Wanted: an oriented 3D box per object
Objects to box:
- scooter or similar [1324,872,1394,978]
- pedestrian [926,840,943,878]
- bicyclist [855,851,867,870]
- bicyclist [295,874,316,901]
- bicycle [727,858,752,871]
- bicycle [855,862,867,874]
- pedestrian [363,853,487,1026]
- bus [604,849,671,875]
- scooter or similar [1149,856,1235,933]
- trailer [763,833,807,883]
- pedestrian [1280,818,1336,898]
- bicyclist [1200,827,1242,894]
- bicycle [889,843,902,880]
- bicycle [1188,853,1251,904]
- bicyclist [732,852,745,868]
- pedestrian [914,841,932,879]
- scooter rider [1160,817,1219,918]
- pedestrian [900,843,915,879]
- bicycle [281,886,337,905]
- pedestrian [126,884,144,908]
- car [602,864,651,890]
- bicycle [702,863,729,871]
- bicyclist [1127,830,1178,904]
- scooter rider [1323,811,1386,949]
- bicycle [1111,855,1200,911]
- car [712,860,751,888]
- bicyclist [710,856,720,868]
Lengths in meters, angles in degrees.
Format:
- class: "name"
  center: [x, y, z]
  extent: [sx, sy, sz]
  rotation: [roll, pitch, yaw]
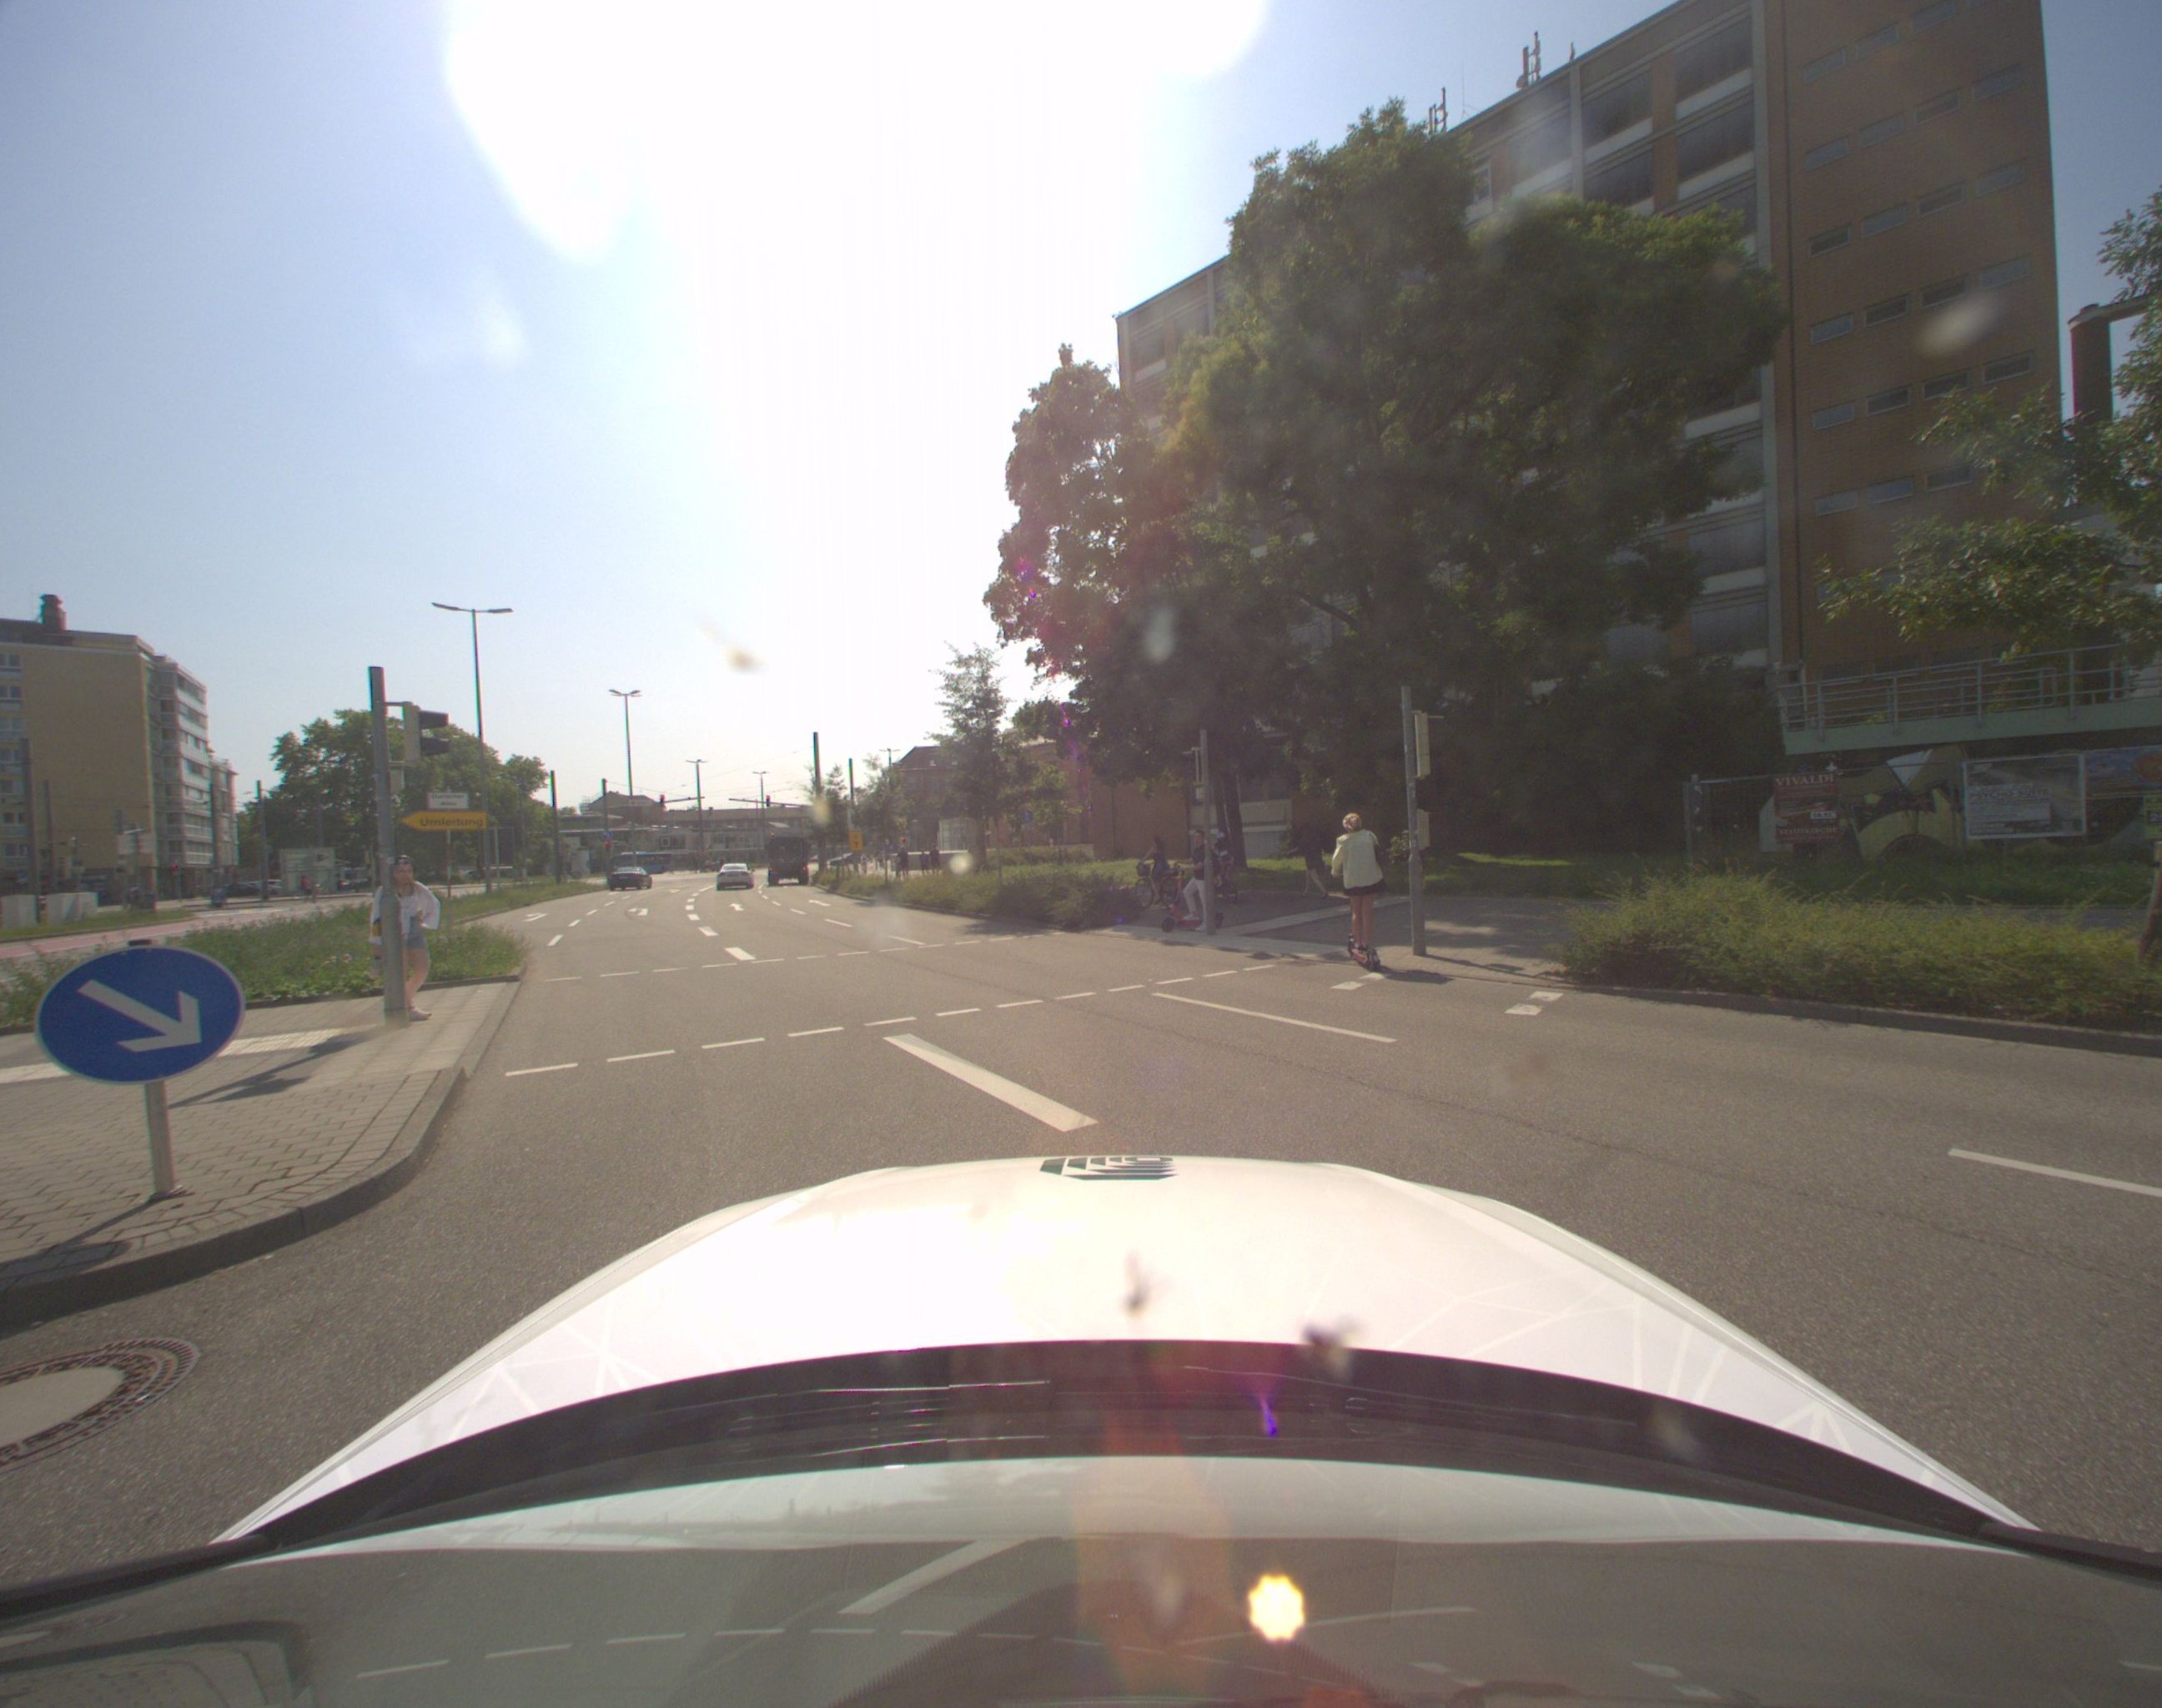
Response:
- class: "scooter or similar"
  center: [3.445, 0.830, 10.217]
  extent: [0.552, 1.060, 2.011]
  rotation: [-2, 2, 12]
- class: "pedestrian"
  center: [-7.930, 0.265, 44.038]
  extent: [0.777, 1.973, 0.752]
  rotation: [-3, 1, -7]
- class: "bicyclist"
  center: [-16.324, 0.481, 60.408]
  extent: [0.677, 1.320, 0.679]
  rotation: [-3, 1, -20]
- class: "bicyclist"
  center: [-48.183, 2.060, 50.585]
  extent: [0.846, 1.642, 0.600]
  rotation: [-3, 1, -39]
- class: "bicycle"
  center: [-35.553, 1.088, 84.745]
  extent: [2.795, 1.178, 0.981]
  rotation: [-2, 1, 36]
- class: "bicycle"
  center: [-16.338, 1.026, 60.521]
  extent: [0.677, 0.776, 2.113]
  rotation: [-3, 1, -20]
- class: "pedestrian"
  center: [-6.840, 0.858, 8.526]
  extent: [0.697, 1.694, 0.606]
  rotation: [-3, 1, -5]
- class: "bus"
  center: [-58.123, 0.961, 107.136]
  extent: [3.048, 2.930, 11.835]
  rotation: [-3, 1, -4]
- class: "scooter or similar"
  center: [2.013, 0.716, 14.801]
  extent: [1.363, 1.234, 0.583]
  rotation: [-5, 1, -9]
- class: "trailer"
  center: [-19.165, 0.250, 52.860]
  extent: [2.471, 3.007, 6.283]
  rotation: [-1, 0, -20]
- class: "pedestrian"
  center: [5.086, 0.081, 18.273]
  extent: [0.710, 1.704, 0.870]
  rotation: [-5, 2, -33]
- class: "bicyclist"
  center: [3.265, 0.144, 19.033]
  extent: [0.550, 1.496, 0.799]
  rotation: [-6, 2, -17]
- class: "bicycle"
  center: [-9.728, 0.388, 42.732]
  extent: [0.455, 1.860, 1.359]
  rotation: [-3, 1, -9]
- class: "bicycle"
  center: [3.243, 0.540, 19.248]
  extent: [0.558, 1.059, 1.993]
  rotation: [-6, 3, -16]
- class: "bicyclist"
  center: [-35.679, 0.616, 84.799]
  extent: [0.654, 1.653, 0.981]
  rotation: [-2, 1, 36]
- class: "pedestrian"
  center: [-8.372, 0.294, 43.136]
  extent: [0.777, 1.973, 0.752]
  rotation: [-3, 1, -7]
- class: "scooter rider"
  center: [1.946, 0.231, 14.729]
  extent: [0.802, 1.739, 0.687]
  rotation: [-4, 1, -9]
- class: "pedestrian"
  center: [-9.192, 0.340, 43.096]
  extent: [0.660, 1.860, 0.791]
  rotation: [-3, 1, -9]
- class: "bicycle"
  center: [-48.027, 2.584, 50.696]
  extent: [2.429, 0.953, 0.597]
  rotation: [-4, 1, -39]
- class: "pedestrian"
  center: [-67.172, 2.974, 57.829]
  extent: [0.654, 1.632, 0.805]
  rotation: [-3, 1, -38]
- class: "car"
  center: [-27.559, 1.351, 49.521]
  extent: [1.762, 1.404, 3.958]
  rotation: [-2, 1, -17]
- class: "bicycle"
  center: [-45.872, 1.623, 102.160]
  extent: [2.960, 0.727, 0.854]
  rotation: [-4, 1, -40]
- class: "bicyclist"
  center: [1.639, 0.292, 18.815]
  extent: [0.695, 1.598, 0.835]
  rotation: [-6, 2, -32]
- class: "scooter rider"
  center: [3.458, 0.324, 10.347]
  extent: [0.666, 1.699, 0.541]
  rotation: [-2, 2, 11]
- class: "bicycle"
  center: [1.680, 0.641, 18.802]
  extent: [0.698, 1.154, 2.347]
  rotation: [-5, 2, -31]
- class: "car"
  center: [-20.052, 1.112, 46.896]
  extent: [1.764, 1.455, 4.395]
  rotation: [-2, 1, -20]
- class: "bicyclist"
  center: [-45.881, 0.995, 102.167]
  extent: [0.911, 1.501, 0.855]
  rotation: [-4, 1, -40]
